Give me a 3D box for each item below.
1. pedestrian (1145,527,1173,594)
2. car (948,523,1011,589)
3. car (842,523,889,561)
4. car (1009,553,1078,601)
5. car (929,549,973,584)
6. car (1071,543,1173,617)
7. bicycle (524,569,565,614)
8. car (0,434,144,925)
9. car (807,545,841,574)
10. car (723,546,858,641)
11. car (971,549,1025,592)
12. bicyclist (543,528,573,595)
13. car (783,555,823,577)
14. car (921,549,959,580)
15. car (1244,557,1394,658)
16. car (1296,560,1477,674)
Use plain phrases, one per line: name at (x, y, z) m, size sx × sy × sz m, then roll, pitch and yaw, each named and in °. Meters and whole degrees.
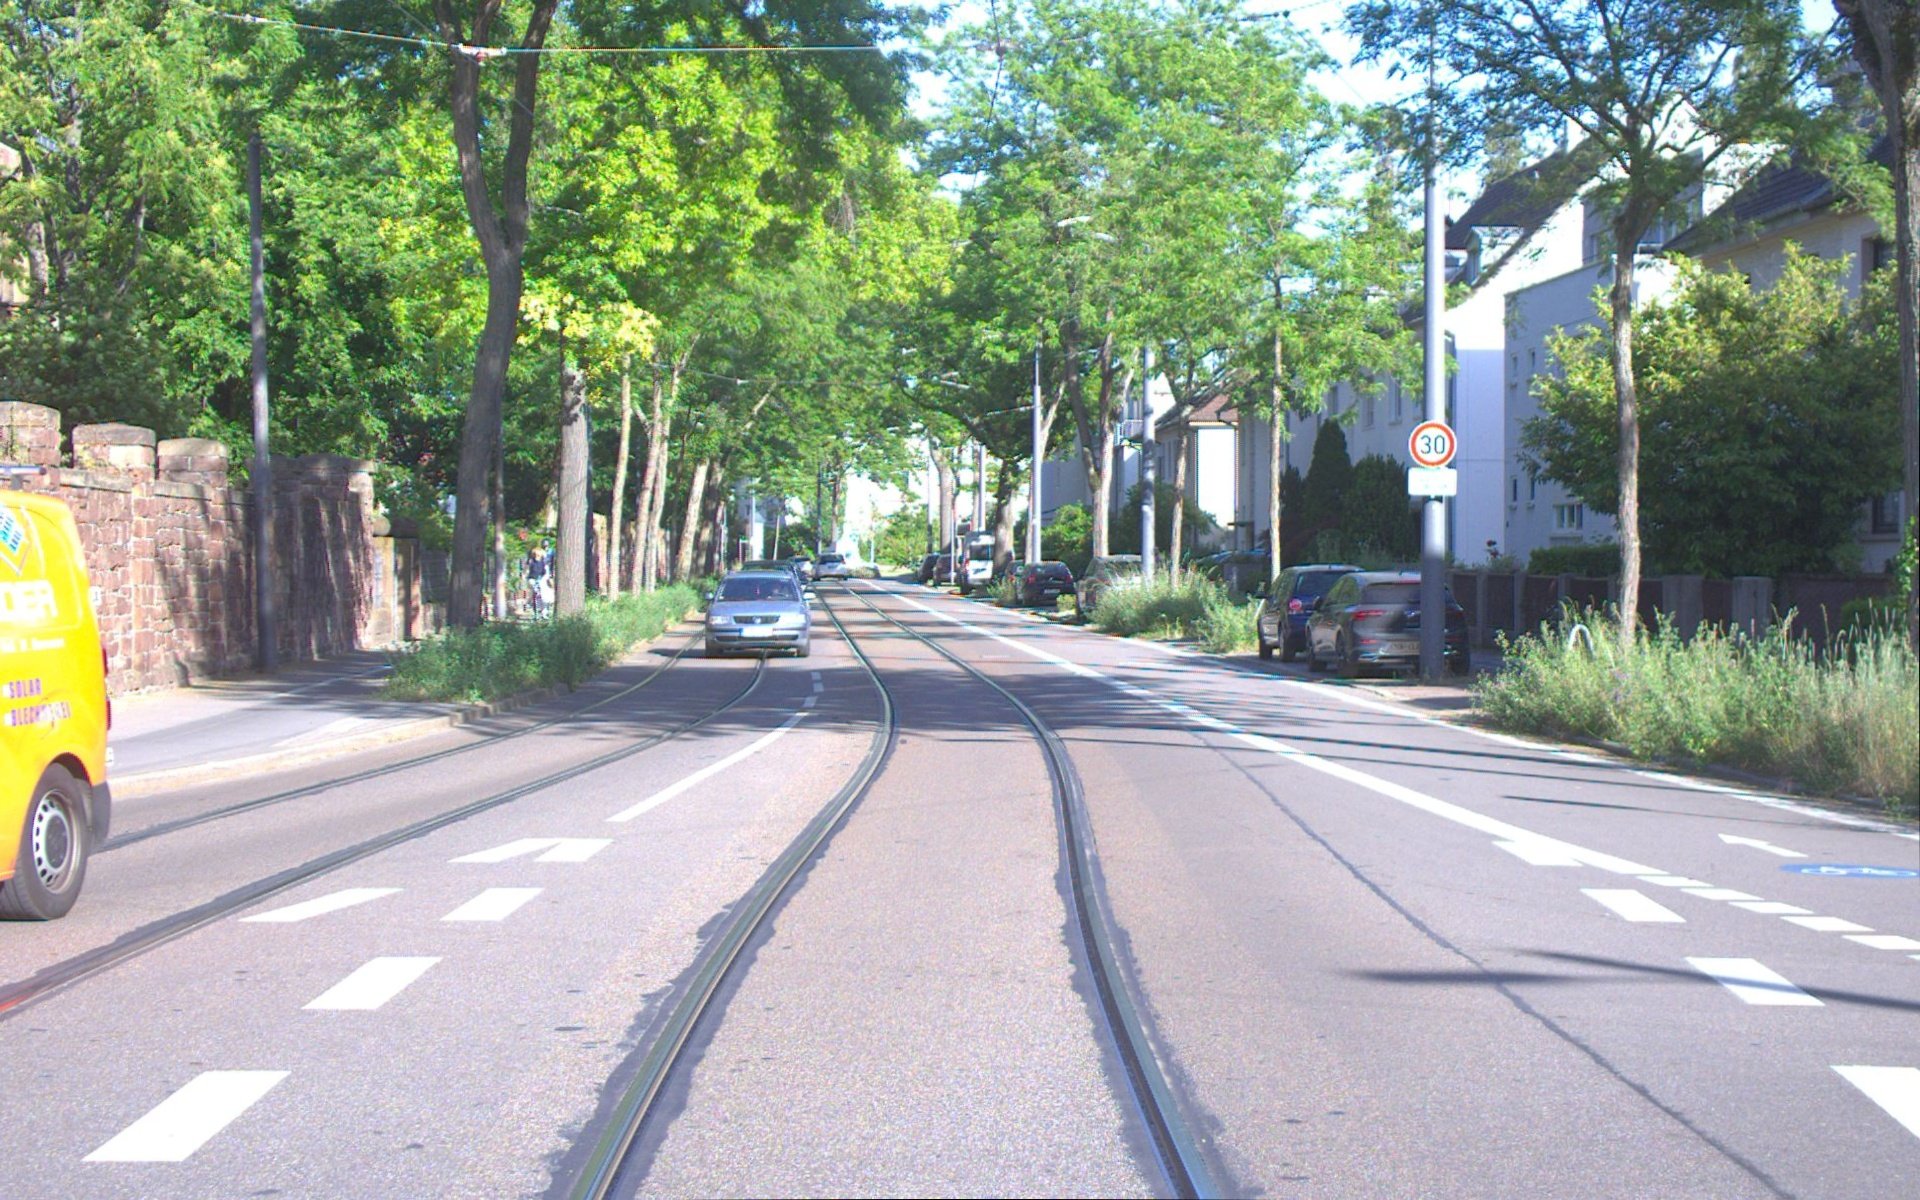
pedestrian at (5.625, -1.116, 97.297) m, size 0.625 × 1.864 × 0.732 m, roll -3°, pitch 1°, yaw -3°
car at (0.801, -1.842, 143.910) m, size 2.245 × 2.645 × 5.586 m, roll -1°, pitch 1°, yaw -3°
car at (-6.100, -3.742, 221.826) m, size 1.993 × 2.450 × 4.510 m, roll -1°, pitch 1°, yaw -15°
car at (2.715, -0.766, 112.715) m, size 1.783 × 1.443 × 4.302 m, roll -3°, pitch 1°, yaw -4°
car at (-0.471, -1.723, 175.870) m, size 2.002 × 1.669 × 4.393 m, roll -2°, pitch 1°, yaw -3°
car at (4.030, -0.523, 86.184) m, size 1.993 × 1.698 × 4.478 m, roll -3°, pitch 1°, yaw -3°
bicycle at (-9.044, -0.191, 74.937) m, size 0.711 × 0.957 × 2.095 m, roll 0°, pitch 1°, yaw -2°
car at (-4.981, 0.324, 12.832) m, size 1.994 × 1.959 × 4.932 m, roll 0°, pitch 1°, yaw 10°
car at (-7.941, -2.386, 201.085) m, size 1.865 × 1.669 × 4.173 m, roll 0°, pitch 1°, yaw -4°
car at (-2.803, -0.126, 57.802) m, size 1.993 × 1.519 × 4.580 m, roll 1°, pitch 1°, yaw 1°
car at (1.335, -1.061, 122.154) m, size 1.627 × 1.393 × 3.646 m, roll -3°, pitch 1°, yaw -3°
bicyclist at (-9.234, -0.889, 79.027) m, size 0.593 × 1.522 × 1.061 m, roll 0°, pitch 1°, yaw -2°
car at (-11.288, -2.467, 246.741) m, size 2.002 × 1.555 × 4.393 m, roll -1°, pitch 1°, yaw -15°
car at (-1.102, -2.029, 193.404) m, size 2.003 × 1.669 × 4.392 m, roll -2°, pitch 1°, yaw 1°
car at (5.574, 0.089, 53.792) m, size 1.748 × 1.490 × 3.997 m, roll -1°, pitch 1°, yaw -3°
car at (5.873, 0.199, 47.791) m, size 1.748 × 1.490 × 4.444 m, roll -1°, pitch 1°, yaw -3°
